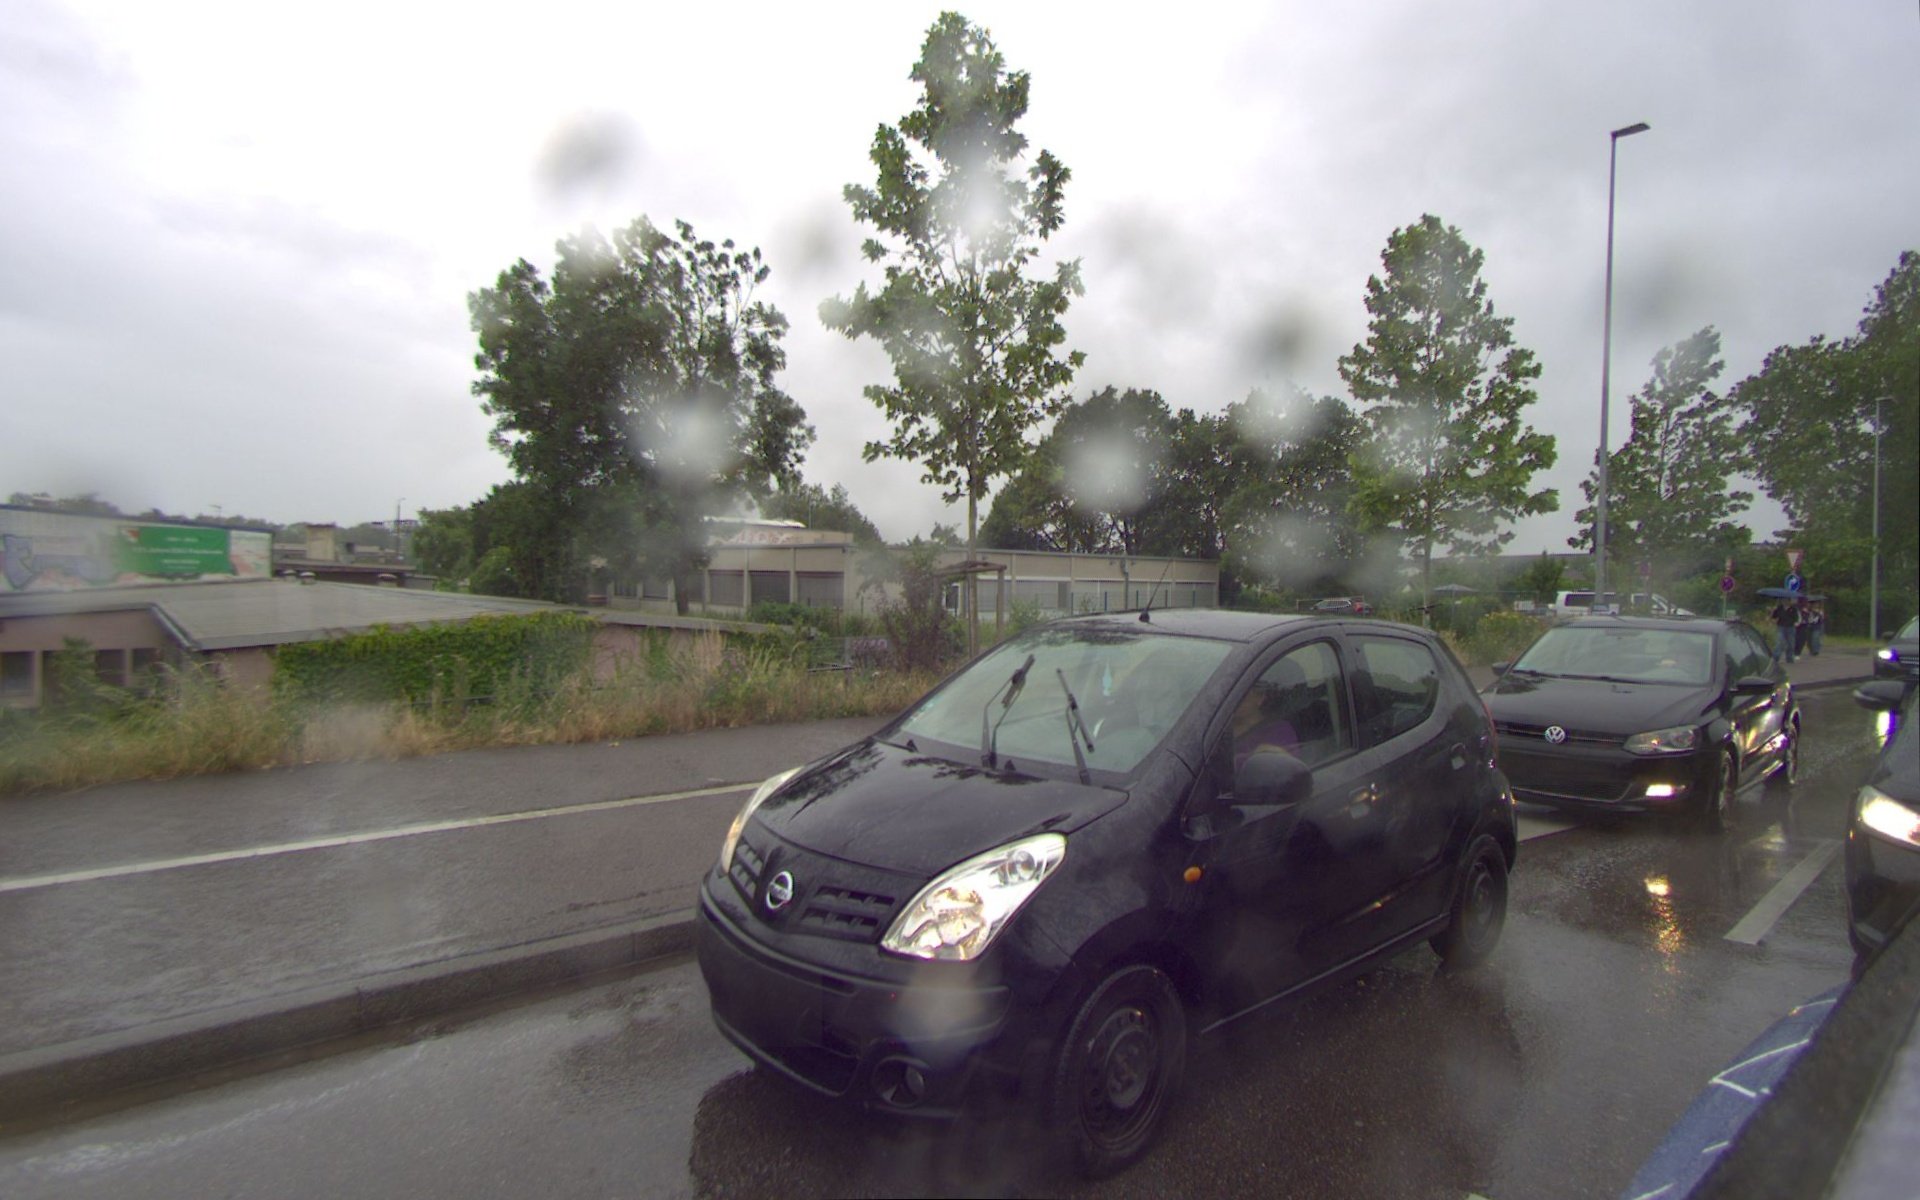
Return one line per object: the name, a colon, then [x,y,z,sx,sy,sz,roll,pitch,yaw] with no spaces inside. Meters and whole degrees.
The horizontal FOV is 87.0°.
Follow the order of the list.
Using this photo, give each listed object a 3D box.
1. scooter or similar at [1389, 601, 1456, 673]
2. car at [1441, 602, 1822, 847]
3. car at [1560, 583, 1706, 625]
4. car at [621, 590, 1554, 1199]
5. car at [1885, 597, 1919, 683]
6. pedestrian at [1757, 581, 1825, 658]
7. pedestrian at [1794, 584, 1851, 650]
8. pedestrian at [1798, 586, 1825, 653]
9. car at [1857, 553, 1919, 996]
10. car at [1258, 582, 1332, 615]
scooter or similar: [7.898,0.608,17.241,1.747,1.144,0.380,-1,2,-43]
car: [5.309,0.753,7.837,3.561,1.447,1.631,0,0,-42]
car: [28.055,0.128,42.316,1.966,1.670,4.752,-1,1,-42]
car: [0.757,0.709,3.883,3.561,1.447,1.631,0,0,-42]
car: [19.739,0.753,20.018,3.747,1.594,1.697,-1,0,-41]
pedestrian: [20.117,0.453,24.496,0.953,1.777,1.081,0,2,-42]
pedestrian: [23.881,0.445,28.024,0.876,1.729,1.024,0,3,-41]
pedestrian: [21.635,0.490,25.717,0.433,1.682,0.400,0,3,-42]
car: [5.463,0.615,4.501,4.091,1.607,1.688,-1,0,-41]
car: [20.999,-0.105,63.470,1.964,2.039,3.996,0,0,-38]
